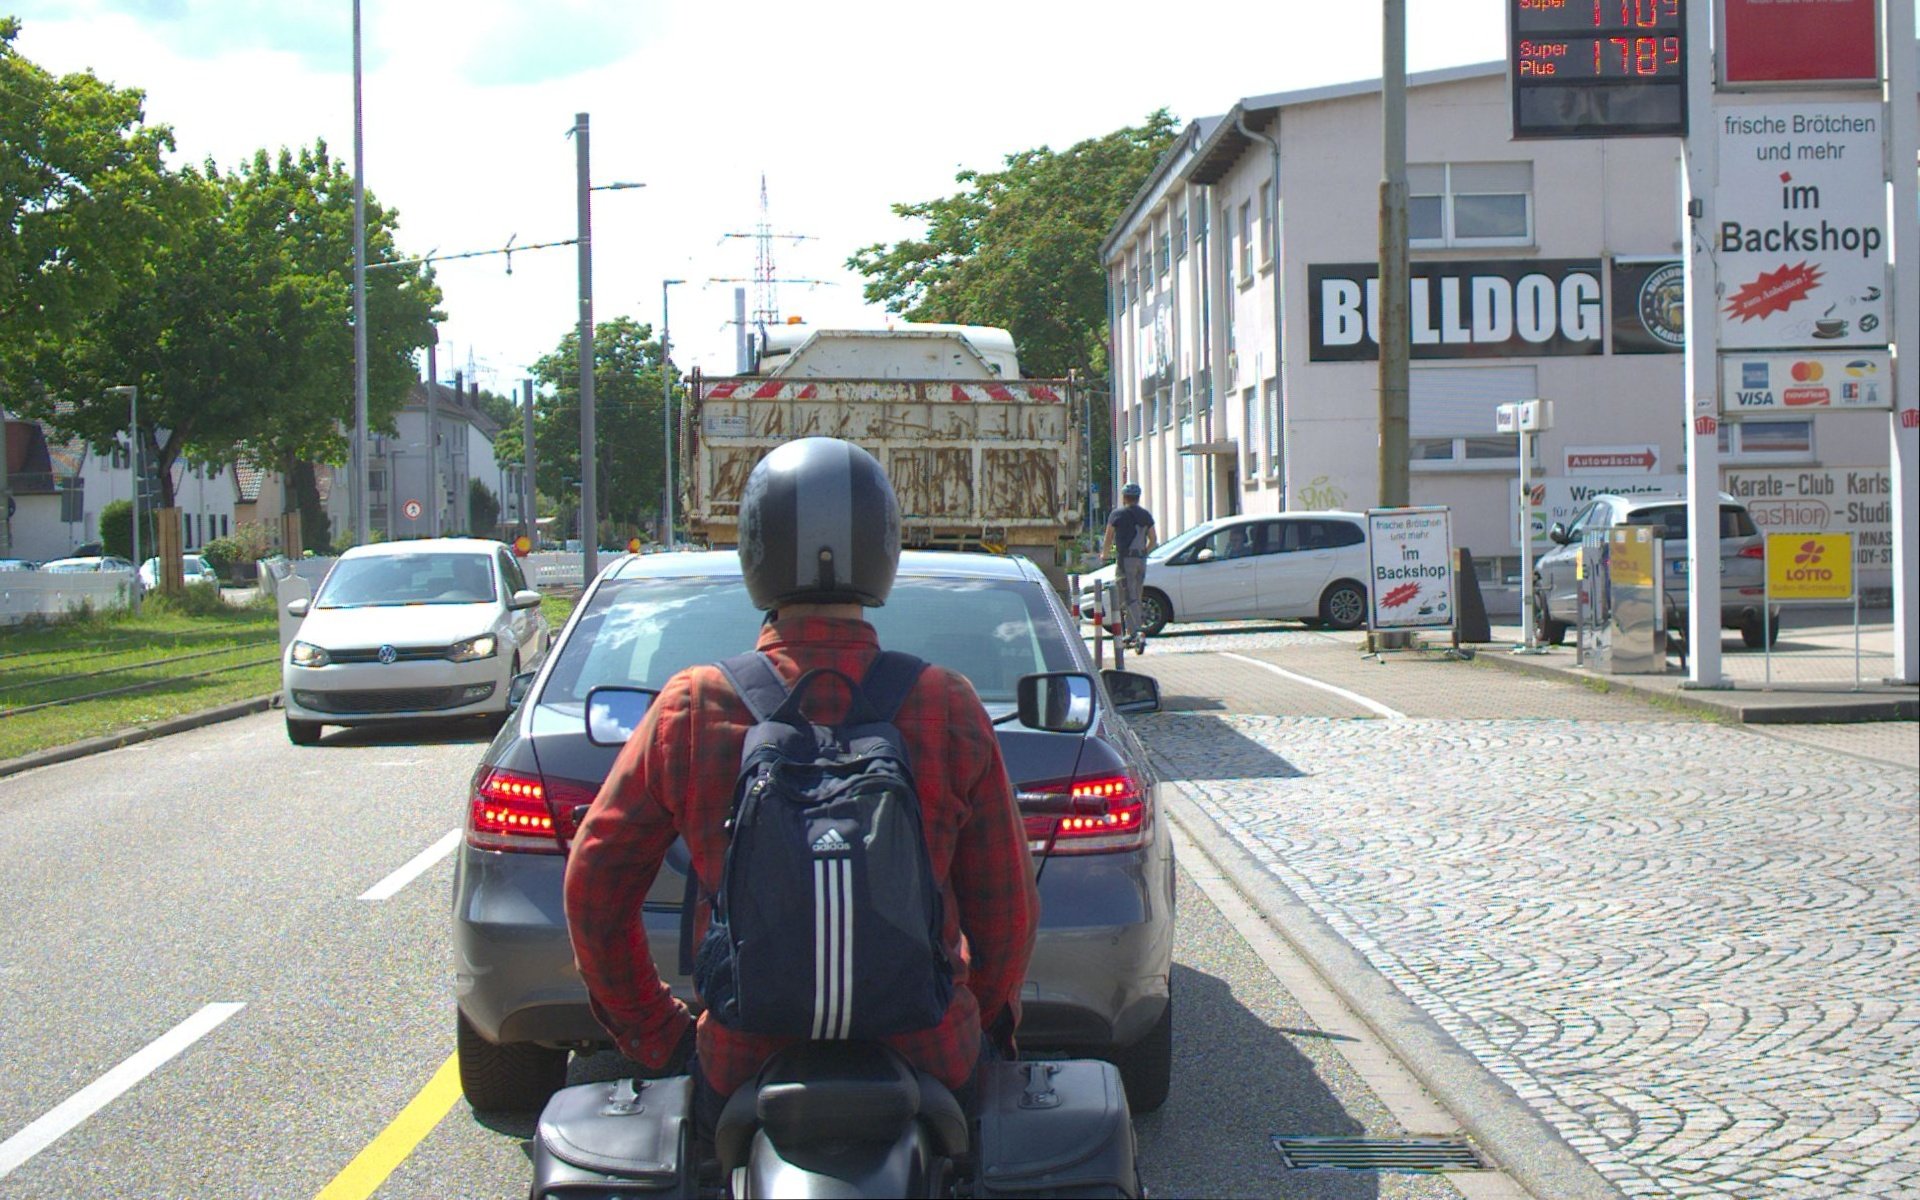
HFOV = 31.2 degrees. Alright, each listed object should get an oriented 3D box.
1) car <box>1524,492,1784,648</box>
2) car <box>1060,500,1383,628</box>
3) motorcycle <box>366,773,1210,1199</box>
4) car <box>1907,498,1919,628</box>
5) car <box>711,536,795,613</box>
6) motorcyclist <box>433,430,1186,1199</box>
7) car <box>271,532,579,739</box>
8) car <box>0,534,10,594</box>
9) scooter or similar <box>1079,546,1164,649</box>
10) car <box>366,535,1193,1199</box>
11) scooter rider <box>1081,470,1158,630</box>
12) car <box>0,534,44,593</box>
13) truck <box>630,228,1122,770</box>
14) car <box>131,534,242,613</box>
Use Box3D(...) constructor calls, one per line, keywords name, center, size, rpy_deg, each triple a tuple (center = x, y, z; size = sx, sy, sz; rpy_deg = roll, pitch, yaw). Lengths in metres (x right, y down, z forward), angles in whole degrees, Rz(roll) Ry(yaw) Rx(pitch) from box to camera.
Box3D(name="car", center=(7.324, -0.346, 36.646), size=(1.832, 1.530, 4.010), rpy_deg=(-1, 1, -2))
Box3D(name="car", center=(3.550, -0.506, 47.032), size=(4.104, 1.619, 1.686), rpy_deg=(-1, 1, -8))
Box3D(name="motorcycle", center=(-0.217, 0.859, 5.209), size=(0.976, 1.010, 2.432), rpy_deg=(1, 1, -1))
Box3D(name="car", center=(11.788, -0.406, 37.244), size=(1.832, 1.474, 4.010), rpy_deg=(-1, 1, -2))
Box3D(name="car", center=(-4.616, -0.594, 77.219), size=(1.680, 1.619, 4.119), rpy_deg=(-1, 1, -1))
Box3D(name="motorcyclist", center=(-0.207, 0.584, 5.086), size=(0.969, 1.627, 1.215), rpy_deg=(1, 1, -1))
Box3D(name="car", center=(-4.008, 0.209, 26.366), size=(1.715, 1.409, 4.262), rpy_deg=(-1, 1, -1))
Box3D(name="car", center=(-28.669, -1.008, 98.579), size=(1.698, 1.733, 4.062), rpy_deg=(-1, 1, 0))
Box3D(name="scooter or similar", center=(1.853, -0.039, 39.728), size=(0.795, 1.141, 1.519), rpy_deg=(-1, 1, -4))
Box3D(name="car", center=(-0.461, 0.581, 9.781), size=(1.832, 1.474, 4.010), rpy_deg=(-1, 1, -2))
Box3D(name="scooter rider", center=(1.839, -0.577, 39.682), size=(0.795, 1.812, 0.508), rpy_deg=(-1, 1, -4))
Box3D(name="car", center=(-29.264, -1.120, 104.590), size=(1.698, 1.733, 4.062), rpy_deg=(-1, 1, 0))
Box3D(name="truck", center=(-0.635, -0.720, 25.470), size=(2.970, 3.293, 8.408), rpy_deg=(-1, 1, -2))
Box3D(name="car", center=(-17.942, -0.630, 79.890), size=(1.698, 1.733, 3.860), rpy_deg=(-1, 1, 0))
